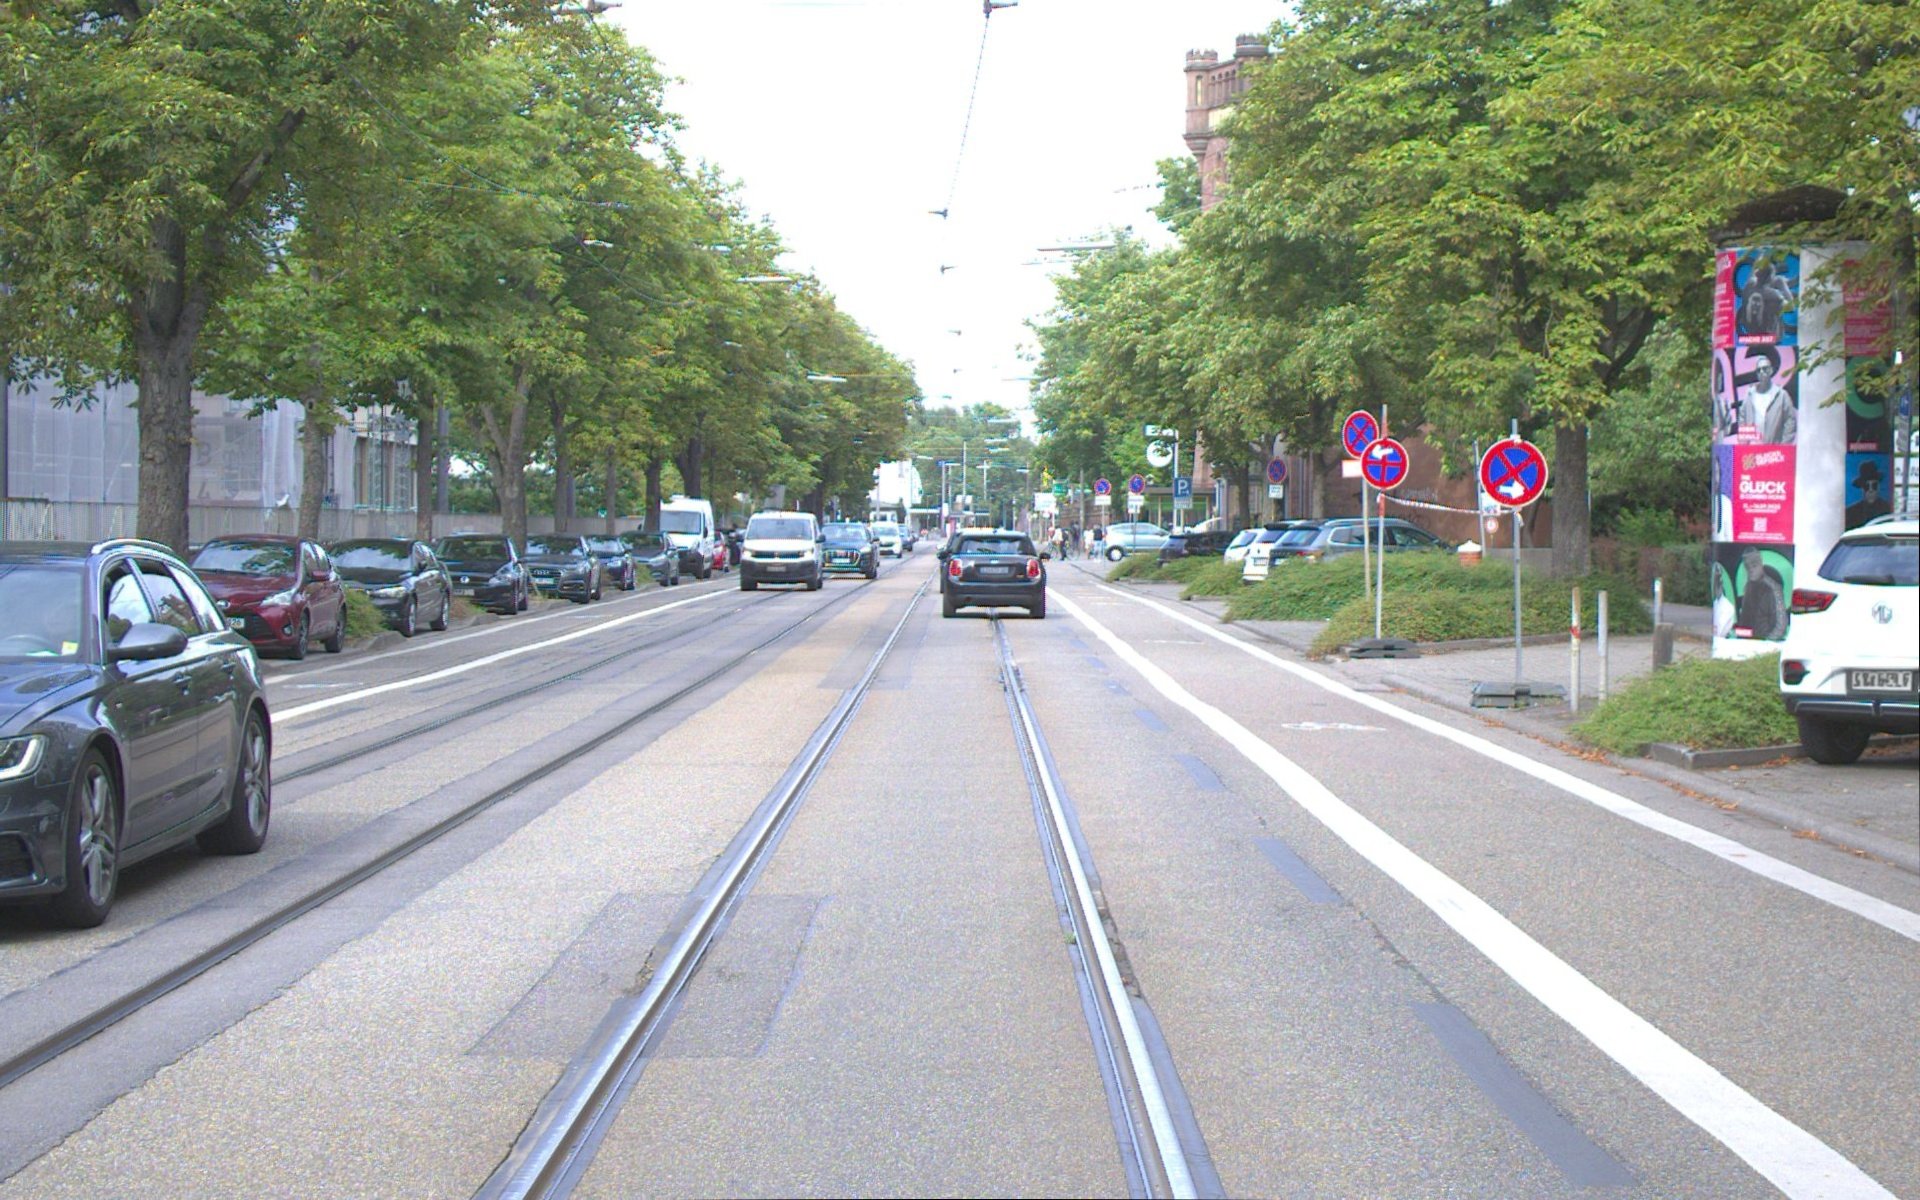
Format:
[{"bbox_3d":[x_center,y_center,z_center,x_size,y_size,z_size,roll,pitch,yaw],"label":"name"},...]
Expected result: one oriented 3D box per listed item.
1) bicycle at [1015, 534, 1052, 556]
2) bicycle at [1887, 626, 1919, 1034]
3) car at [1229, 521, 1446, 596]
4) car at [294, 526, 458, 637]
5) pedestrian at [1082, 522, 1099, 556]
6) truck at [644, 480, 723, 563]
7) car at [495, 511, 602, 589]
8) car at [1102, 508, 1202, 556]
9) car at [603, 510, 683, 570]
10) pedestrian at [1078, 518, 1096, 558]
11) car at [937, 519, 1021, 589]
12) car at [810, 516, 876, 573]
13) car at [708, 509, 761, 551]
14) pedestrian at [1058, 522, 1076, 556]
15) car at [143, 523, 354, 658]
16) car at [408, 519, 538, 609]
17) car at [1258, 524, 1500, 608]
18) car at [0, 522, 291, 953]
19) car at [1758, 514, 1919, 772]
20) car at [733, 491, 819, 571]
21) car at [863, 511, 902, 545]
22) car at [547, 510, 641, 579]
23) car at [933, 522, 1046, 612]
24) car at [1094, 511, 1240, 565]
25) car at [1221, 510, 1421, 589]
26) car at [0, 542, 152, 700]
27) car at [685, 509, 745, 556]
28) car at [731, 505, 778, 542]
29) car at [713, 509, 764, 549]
[{"bbox_3d":[3.586,-2.681,167.171,1.721,0.988,0.658,2,1,9],"label":"bicycle"},{"bbox_3d":[3.315,0.743,9.868,0.657,1.244,2.125,1,2,-1],"label":"bicycle"},{"bbox_3d":[7.431,-0.831,67.929,3.986,1.420,1.885,1,1,-3],"label":"car"},{"bbox_3d":[-8.742,-0.308,51.749,1.802,1.578,4.031,-1,1,0],"label":"car"},{"bbox_3d":[6.382,-2.965,168.106,0.726,1.640,0.766,2,1,10],"label":"pedestrian"},{"bbox_3d":[-8.507,-2.427,106.133,2.071,2.462,4.899,-1,1,0],"label":"truck"},{"bbox_3d":[-8.665,-1.080,72.710,1.802,1.578,4.031,-1,1,0],"label":"car"},{"bbox_3d":[8.073,-2.875,145.127,3.986,1.904,2.000,1,2,-2],"label":"car"},{"bbox_3d":[-8.553,-1.643,93.070,1.802,1.578,4.031,-1,1,0],"label":"car"},{"bbox_3d":[5.294,-2.600,143.443,0.726,1.640,0.766,1,1,2],"label":"pedestrian"},{"bbox_3d":[0.411,-1.062,77.352,1.793,1.465,4.000,2,1,0],"label":"car"},{"bbox_3d":[-3.396,-1.643,100.682,1.802,1.616,4.485,-1,1,0],"label":"car"},{"bbox_3d":[-8.626,-2.699,131.764,1.802,1.578,4.031,-1,1,0],"label":"car"},{"bbox_3d":[5.187,-2.961,167.031,0.726,1.640,0.766,2,1,10],"label":"pedestrian"},{"bbox_3d":[-8.812,-0.155,42.879,1.802,1.578,4.031,-1,1,0],"label":"car"},{"bbox_3d":[-8.810,-0.678,62.480,1.802,1.578,4.031,-1,1,0],"label":"car"},{"bbox_3d":[7.411,-0.609,61.030,3.986,1.420,1.885,1,1,-3],"label":"car"},{"bbox_3d":[-4.068,0.416,14.013,1.834,1.443,4.554,1,1,-1],"label":"car"},{"bbox_3d":[6.939,0.241,22.426,3.437,1.567,1.560,0,2,-38],"label":"car"},{"bbox_3d":[-4.289,-1.621,80.780,1.802,1.817,4.485,-1,1,0],"label":"car"},{"bbox_3d":[-3.755,-3.500,167.073,1.802,1.616,4.485,-1,1,0],"label":"car"},{"bbox_3d":[-8.682,-1.330,81.810,1.802,1.578,4.031,-1,1,0],"label":"car"},{"bbox_3d":[0.465,-0.582,57.764,1.793,1.418,4.000,1,1,0],"label":"car"},{"bbox_3d":[5.948,-1.785,98.968,3.986,1.503,1.885,1,1,-3],"label":"car"},{"bbox_3d":[7.675,-1.079,73.328,3.986,1.622,1.885,1,1,-3],"label":"car"},{"bbox_3d":[-9.004,0.163,32.491,1.802,1.369,4.031,-1,1,0],"label":"car"},{"bbox_3d":[-8.437,-2.340,118.661,1.802,1.578,4.031,-1,1,0],"label":"car"},{"bbox_3d":[-8.923,-3.322,149.387,1.802,1.578,4.031,-1,1,0],"label":"car"},{"bbox_3d":[-8.881,-2.848,137.910,1.802,1.578,4.031,-1,1,0],"label":"car"}]
